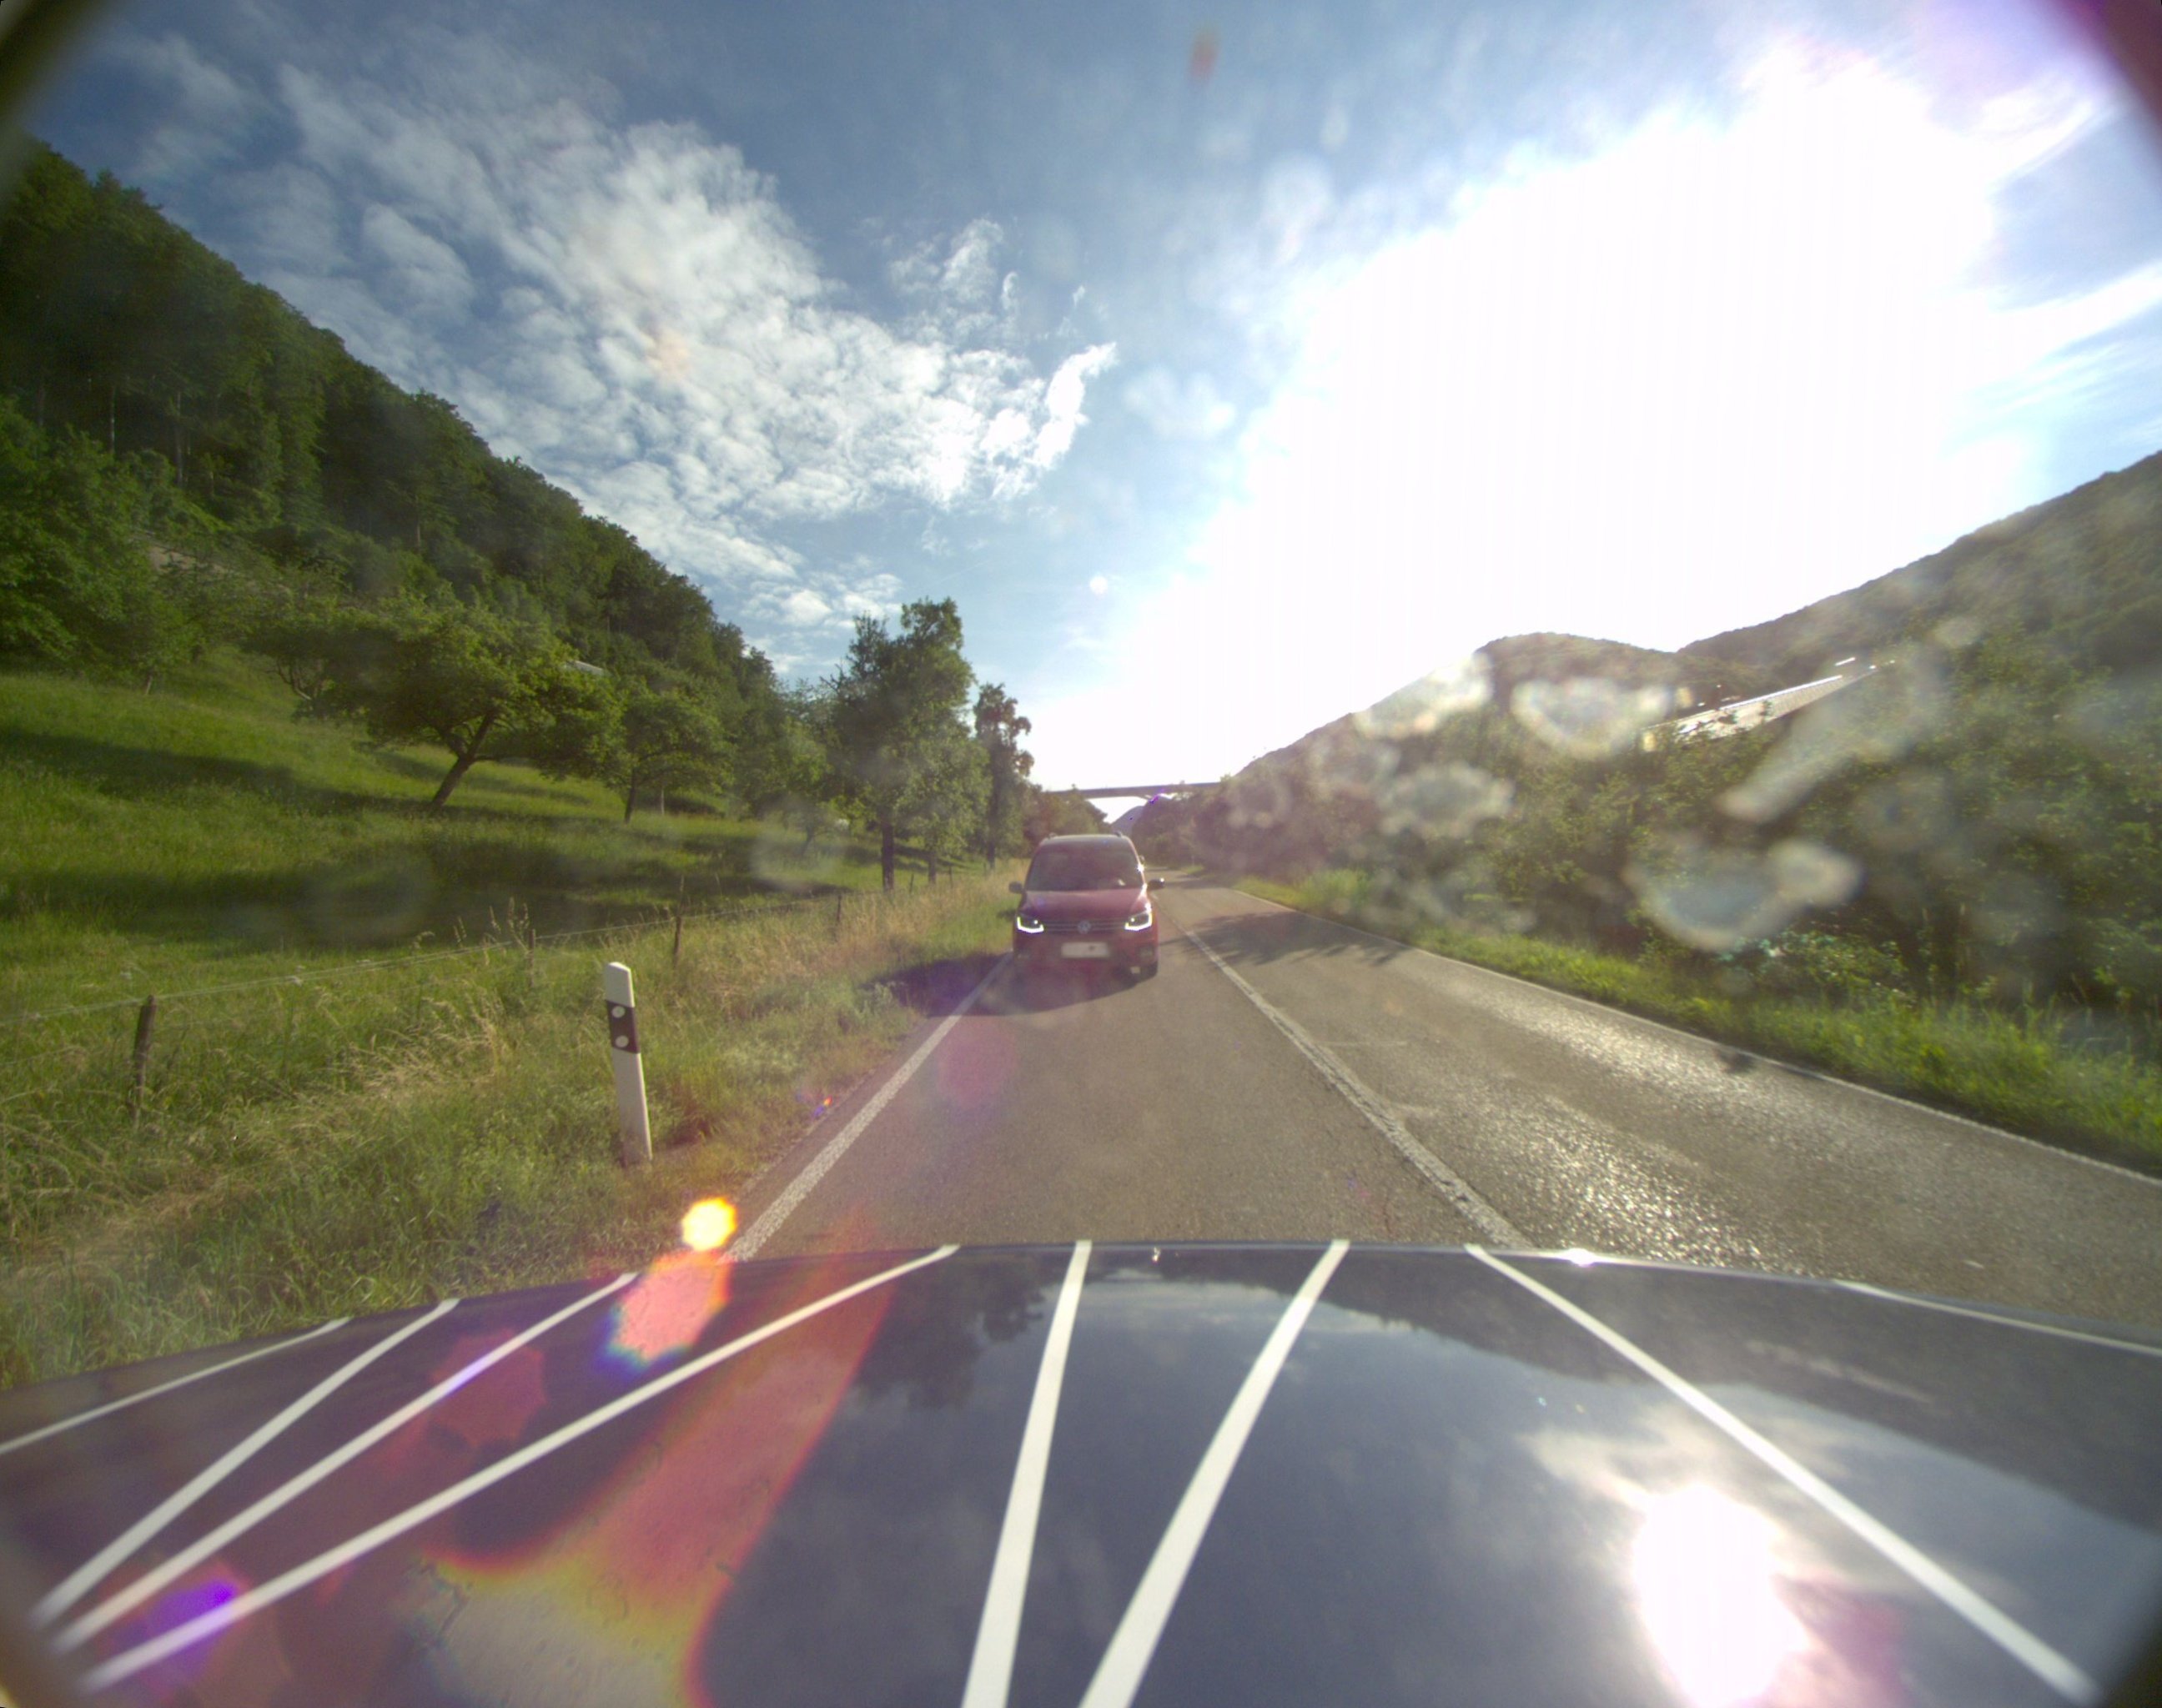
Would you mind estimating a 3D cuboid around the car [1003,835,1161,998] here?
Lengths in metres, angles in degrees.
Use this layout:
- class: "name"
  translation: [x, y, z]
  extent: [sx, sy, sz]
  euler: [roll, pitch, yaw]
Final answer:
- class: "car"
  translation: [0.048, 0.702, 10.548]
  extent: [1.741, 1.803, 4.000]
  euler: [-1, 0, 1]

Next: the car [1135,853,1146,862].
- class: "car"
  translation: [9.466, 0.511, 121.171]
  extent: [1.696, 1.401, 3.663]
  euler: [-1, 1, 3]

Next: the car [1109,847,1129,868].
- class: "car"
  translation: [3.944, 0.367, 78.815]
  extent: [1.998, 2.002, 4.000]
  euler: [-2, 1, 2]
